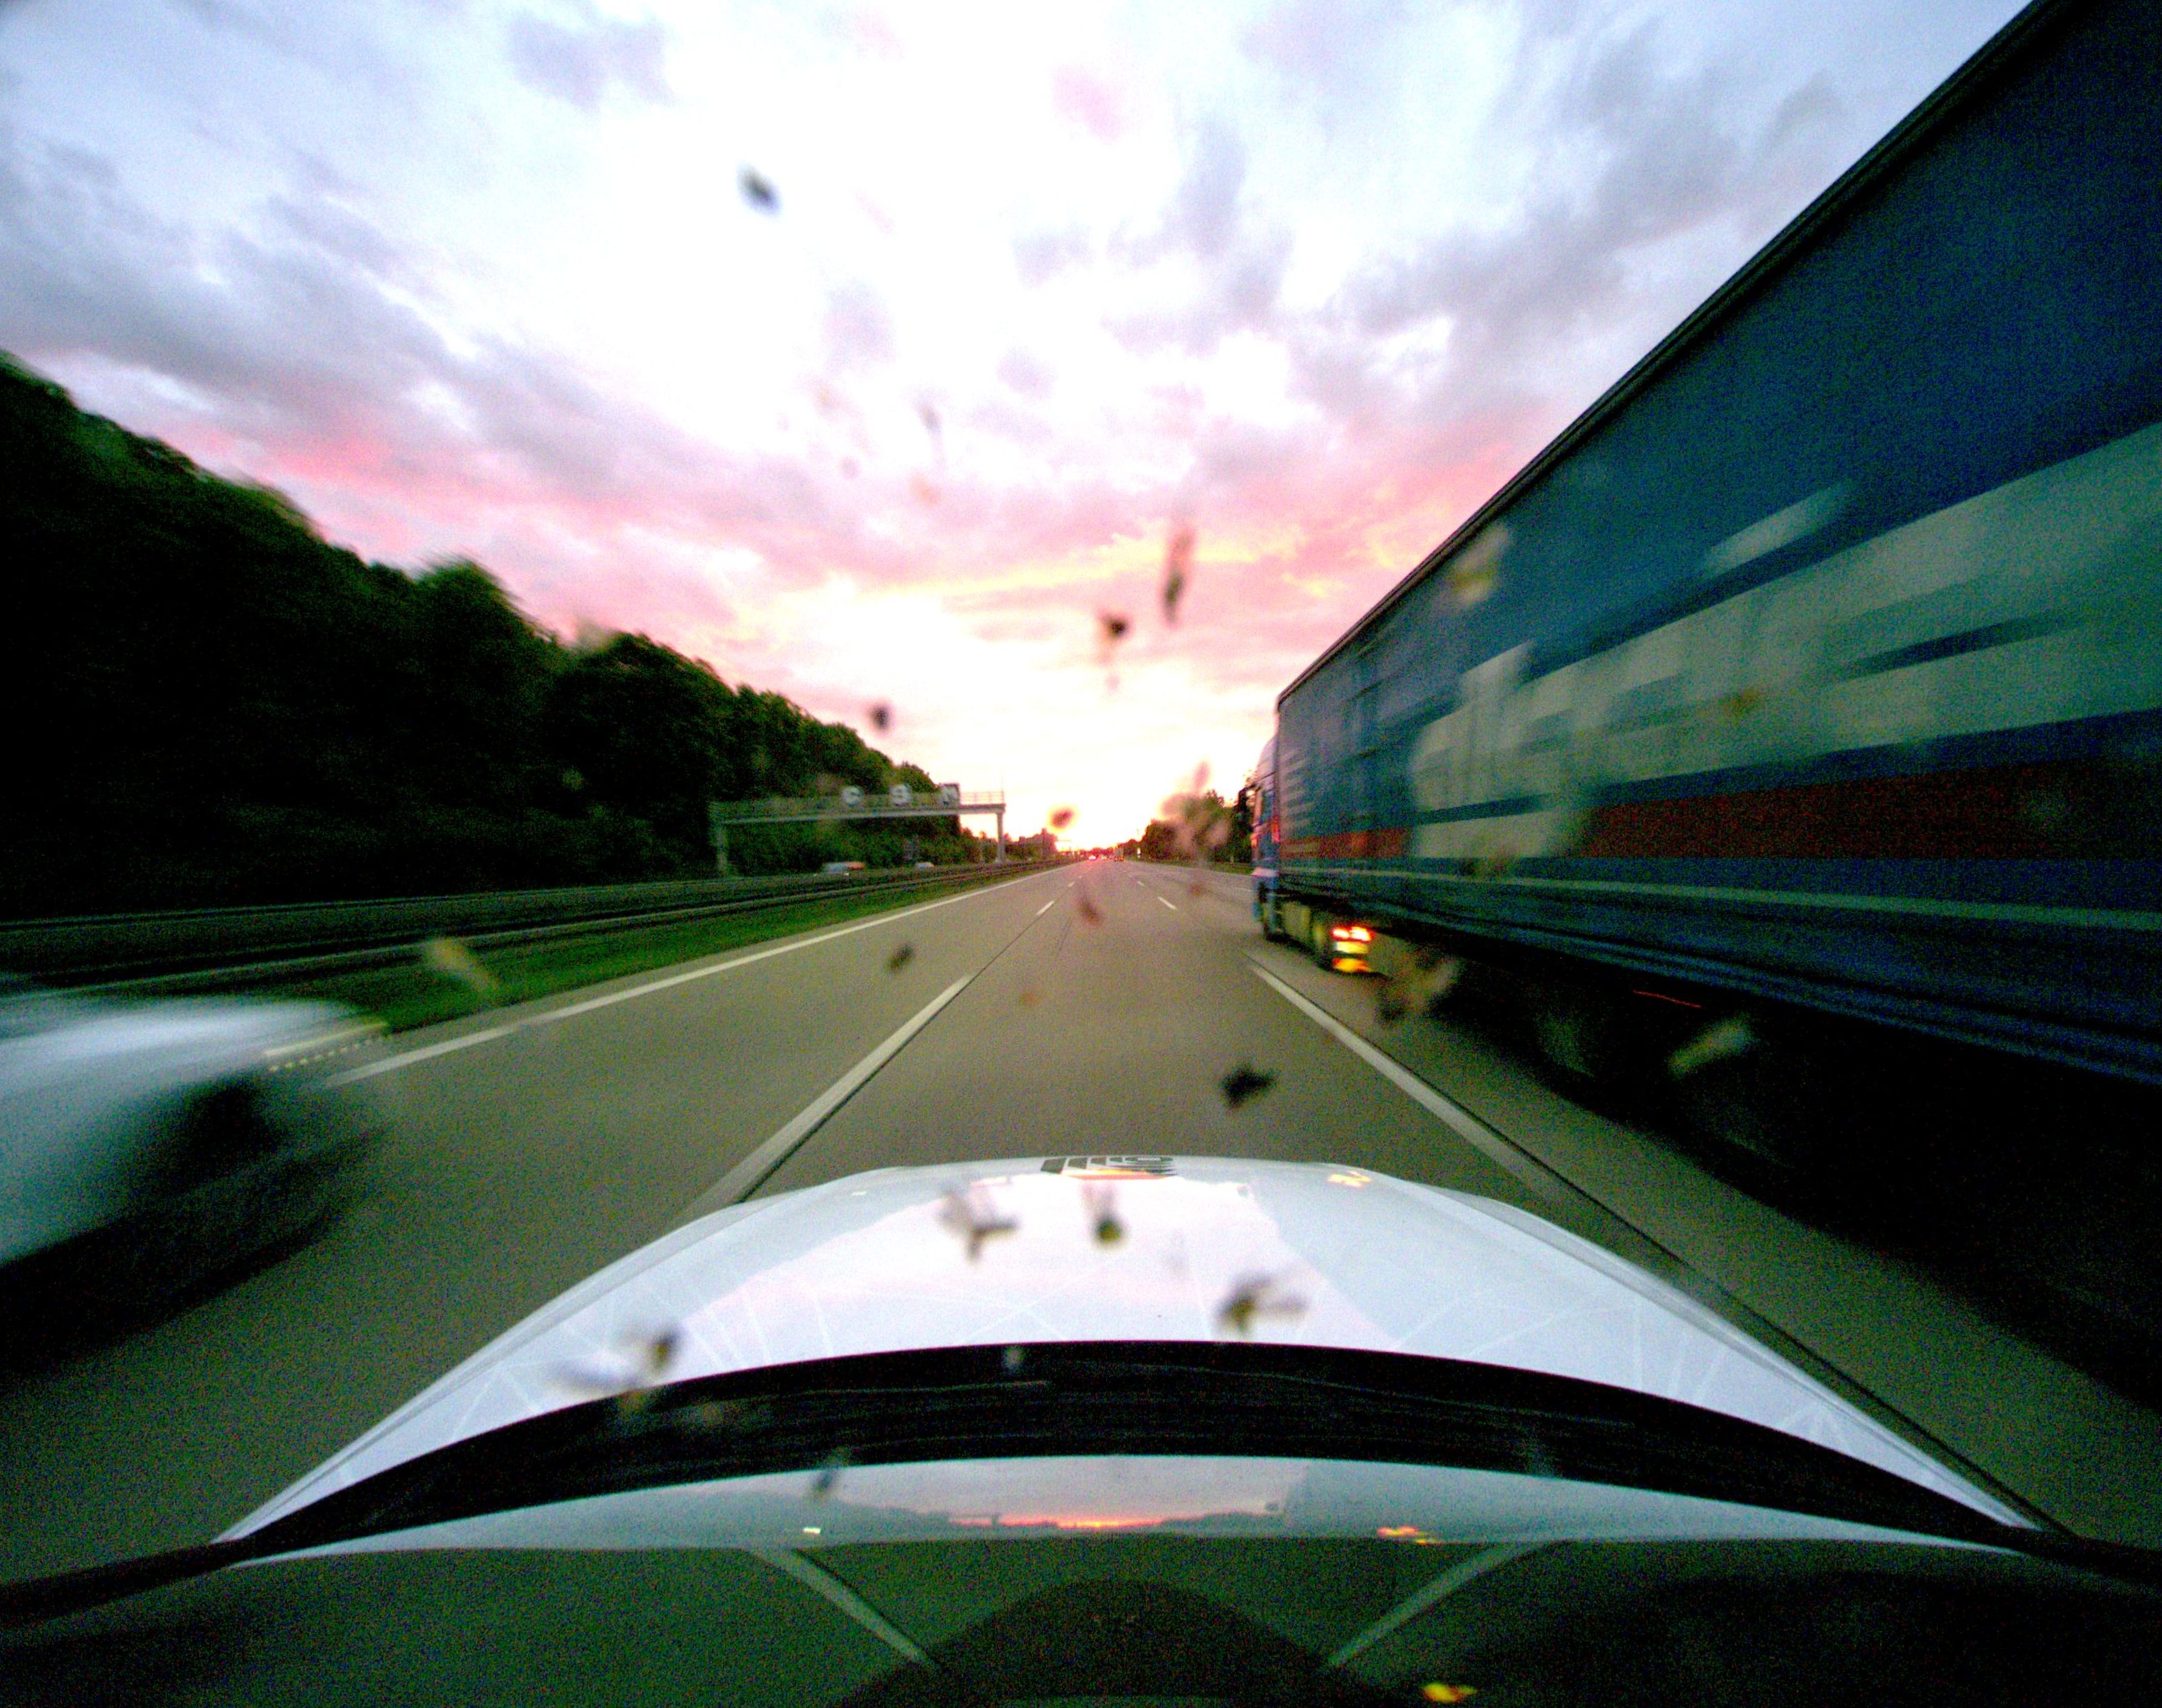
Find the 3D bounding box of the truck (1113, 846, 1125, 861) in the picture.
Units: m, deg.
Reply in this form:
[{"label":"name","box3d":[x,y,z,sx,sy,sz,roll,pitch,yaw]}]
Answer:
[{"label":"truck","box3d":[10.912,-0.184,233.957,3.232,4.127,9.791,-2,0,2]}]

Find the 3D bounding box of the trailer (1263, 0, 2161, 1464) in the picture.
[{"label":"trailer","box3d":[4.146,-0.563,6.410,2.761,4.086,13.745,-1,0,2]}]

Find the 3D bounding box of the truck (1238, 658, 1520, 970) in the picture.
[{"label":"truck","box3d":[4.414,-0.505,13.480,2.725,3.996,5.853,-1,0,3]}]

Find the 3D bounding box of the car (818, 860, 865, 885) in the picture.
[{"label":"car","box3d":[-18.465,1.405,63.121,1.842,1.734,5.662,-1,0,1]}]

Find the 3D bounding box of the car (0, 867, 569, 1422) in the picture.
[{"label":"car","box3d":[-3.912,0.842,2.200,1.783,1.501,5.038,-1,0,1]}]
